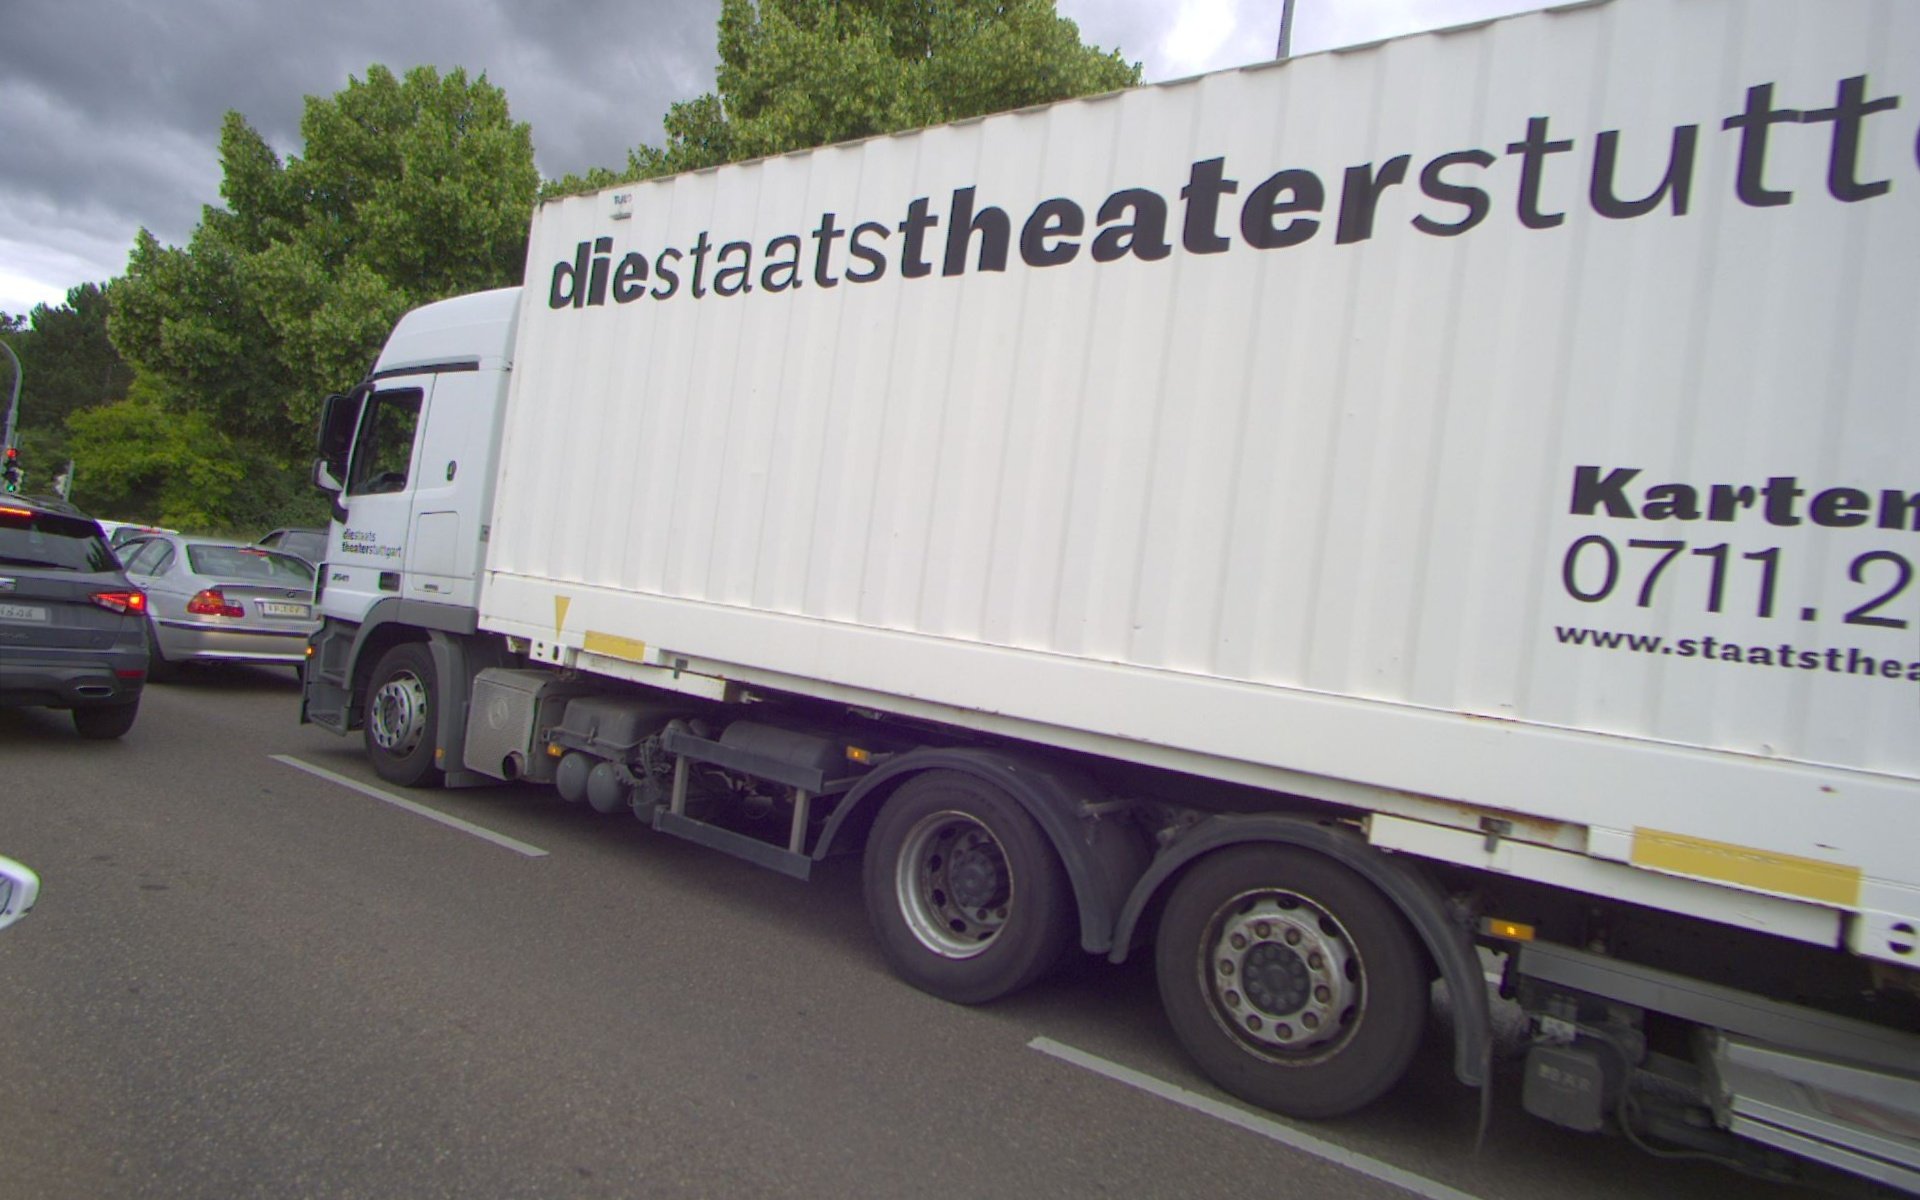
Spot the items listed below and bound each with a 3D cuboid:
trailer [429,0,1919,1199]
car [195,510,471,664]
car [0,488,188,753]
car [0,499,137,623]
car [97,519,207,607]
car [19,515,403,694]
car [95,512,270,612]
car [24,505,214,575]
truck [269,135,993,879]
[{"bbox_3d":[0.879,-0.115,5.105,7.637,3.749,2.569,7,-1,33],"label":"trailer"},{"bbox_3d":[-9.928,-0.238,15.822,4.432,1.825,1.828,7,-1,33],"label":"car"},{"bbox_3d":[-7.097,-0.058,6.783,3.935,1.503,1.700,6,-2,34],"label":"car"},{"bbox_3d":[-13.582,-0.658,14.154,4.144,1.452,1.828,6,-2,33],"label":"car"},{"bbox_3d":[-19.086,-0.892,23.860,1.696,1.655,4.200,11,-4,-38],"label":"car"},{"bbox_3d":[-8.021,0.025,10.704,4.050,1.370,1.815,6,-2,32],"label":"car"},{"bbox_3d":[-14.756,-0.742,19.050,3.584,1.454,1.515,7,-1,35],"label":"car"},{"bbox_3d":[-33.738,-2.348,40.522,1.968,1.837,5.425,10,0,35],"label":"car"},{"bbox_3d":[-2.371,-0.553,7.222,4.039,3.749,2.575,7,-1,33],"label":"truck"}]
